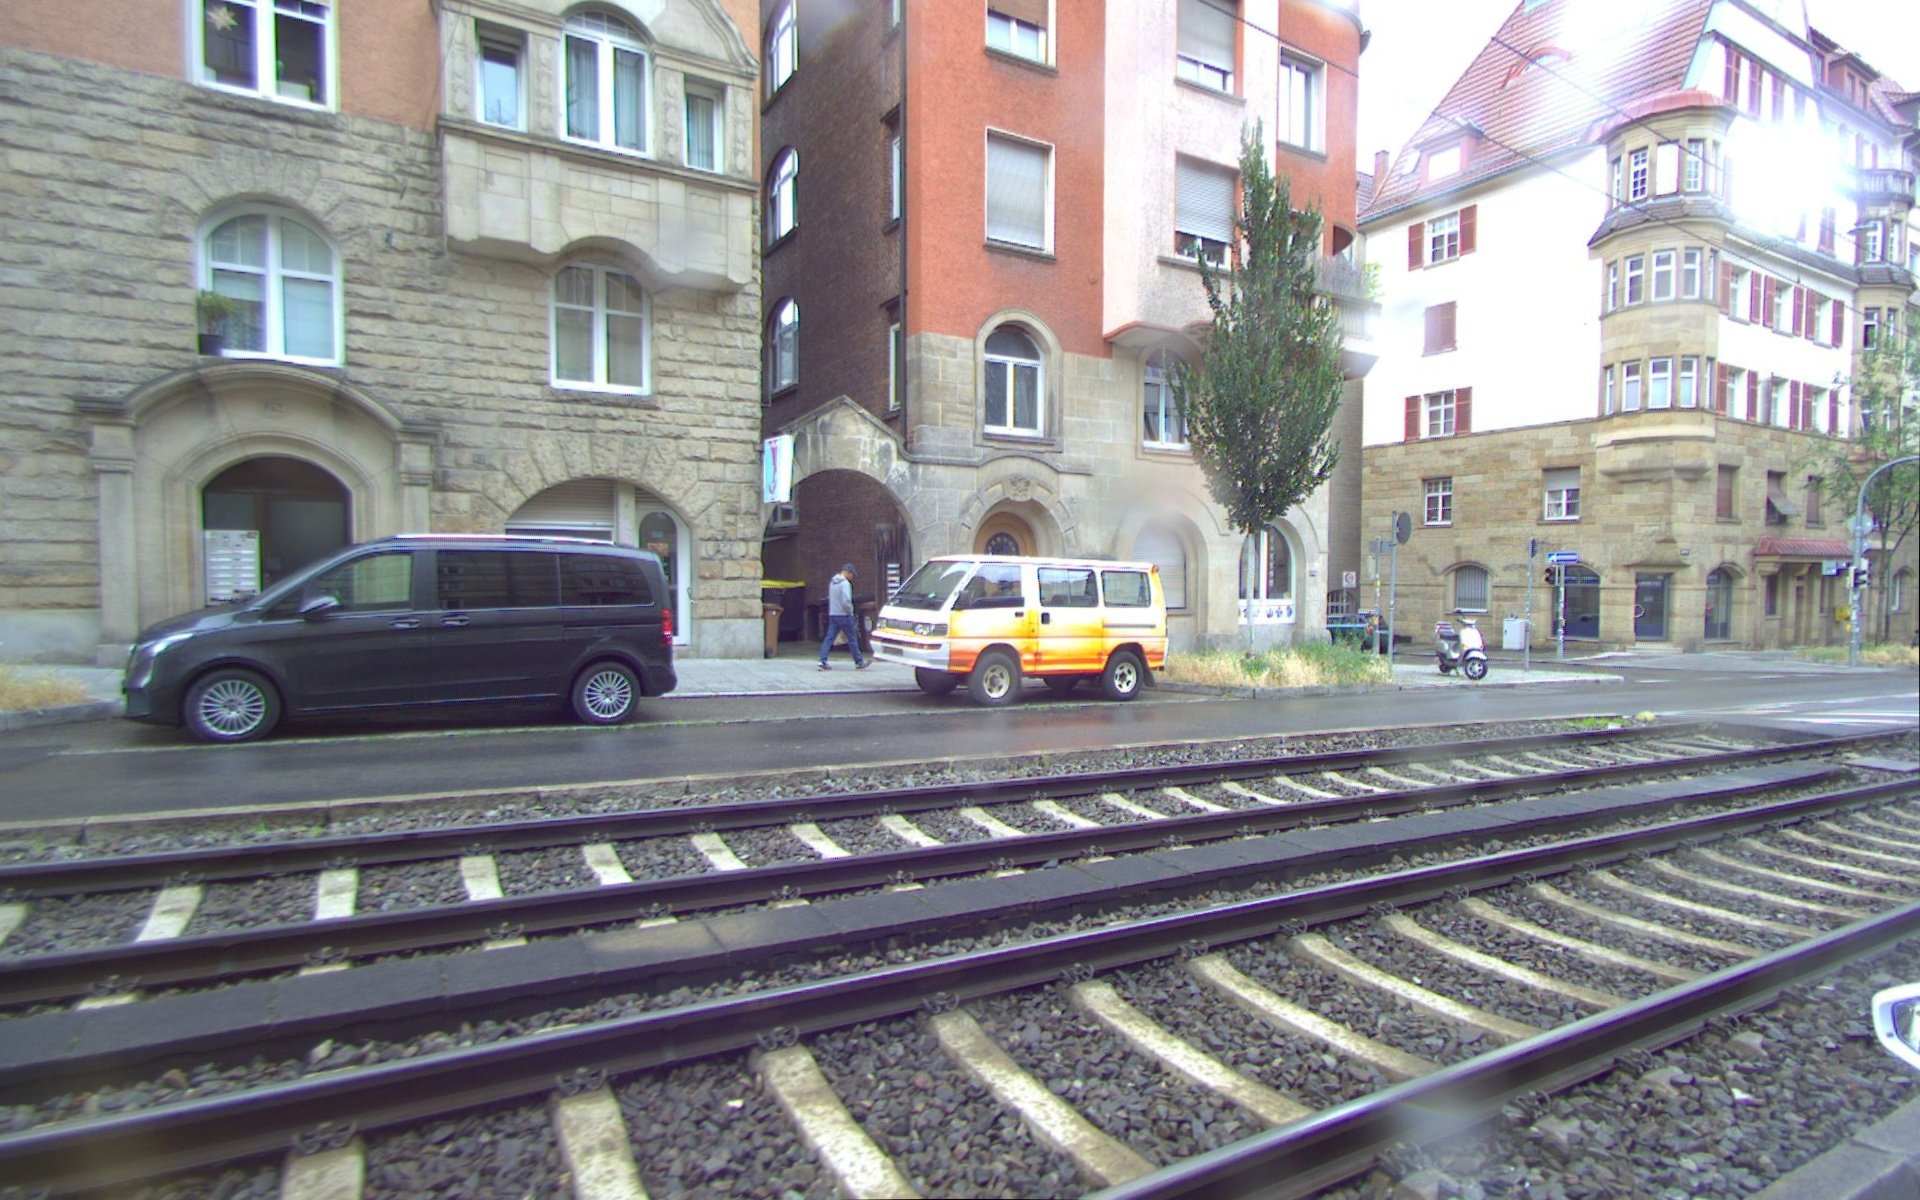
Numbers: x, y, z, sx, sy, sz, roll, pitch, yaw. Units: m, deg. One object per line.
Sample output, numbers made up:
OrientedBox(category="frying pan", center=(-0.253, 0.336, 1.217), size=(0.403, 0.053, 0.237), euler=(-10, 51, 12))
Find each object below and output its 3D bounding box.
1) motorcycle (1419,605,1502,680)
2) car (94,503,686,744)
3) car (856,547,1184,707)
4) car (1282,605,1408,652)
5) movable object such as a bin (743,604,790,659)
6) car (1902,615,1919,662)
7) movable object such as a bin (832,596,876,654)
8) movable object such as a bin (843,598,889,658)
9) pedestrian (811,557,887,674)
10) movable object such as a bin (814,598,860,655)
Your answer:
OrientedBox(category="motorcycle", center=(9.816, 0.812, 19.780), size=(0.752, 1.393, 1.785), euler=(2, 0, 2))
OrientedBox(category="car", center=(-5.448, 0.253, 10.219), size=(4.777, 1.956, 1.896), euler=(2, 0, -31))
OrientedBox(category="car", center=(0.922, 0.385, 14.186), size=(4.426, 1.956, 1.719), euler=(2, 0, -32))
OrientedBox(category="car", center=(14.218, 1.034, 37.289), size=(1.979, 1.595, 3.963), euler=(2, 0, -33))
OrientedBox(category="movable object such as a bin", center=(-3.336, 0.541, 17.277), size=(0.647, 0.910, 0.544), euler=(2, 0, -27))
OrientedBox(category="car", center=(33.796, 1.335, 34.077), size=(4.130, 1.549, 1.680), euler=(2, 0, -32))
OrientedBox(category="movable object such as a bin", center=(-1.981, 0.470, 18.746), size=(0.648, 1.058, 0.545), euler=(2, 0, -29))
OrientedBox(category="movable object such as a bin", center=(-1.714, 0.509, 18.253), size=(0.648, 1.058, 0.545), euler=(2, 0, -29))
OrientedBox(category="pedestrian", center=(-1.743, 0.238, 15.719), size=(0.882, 1.743, 0.713), euler=(2, 6, -30))
OrientedBox(category="movable object such as a bin", center=(-2.364, 0.503, 19.254), size=(0.648, 1.058, 0.676), euler=(2, 0, -29))
